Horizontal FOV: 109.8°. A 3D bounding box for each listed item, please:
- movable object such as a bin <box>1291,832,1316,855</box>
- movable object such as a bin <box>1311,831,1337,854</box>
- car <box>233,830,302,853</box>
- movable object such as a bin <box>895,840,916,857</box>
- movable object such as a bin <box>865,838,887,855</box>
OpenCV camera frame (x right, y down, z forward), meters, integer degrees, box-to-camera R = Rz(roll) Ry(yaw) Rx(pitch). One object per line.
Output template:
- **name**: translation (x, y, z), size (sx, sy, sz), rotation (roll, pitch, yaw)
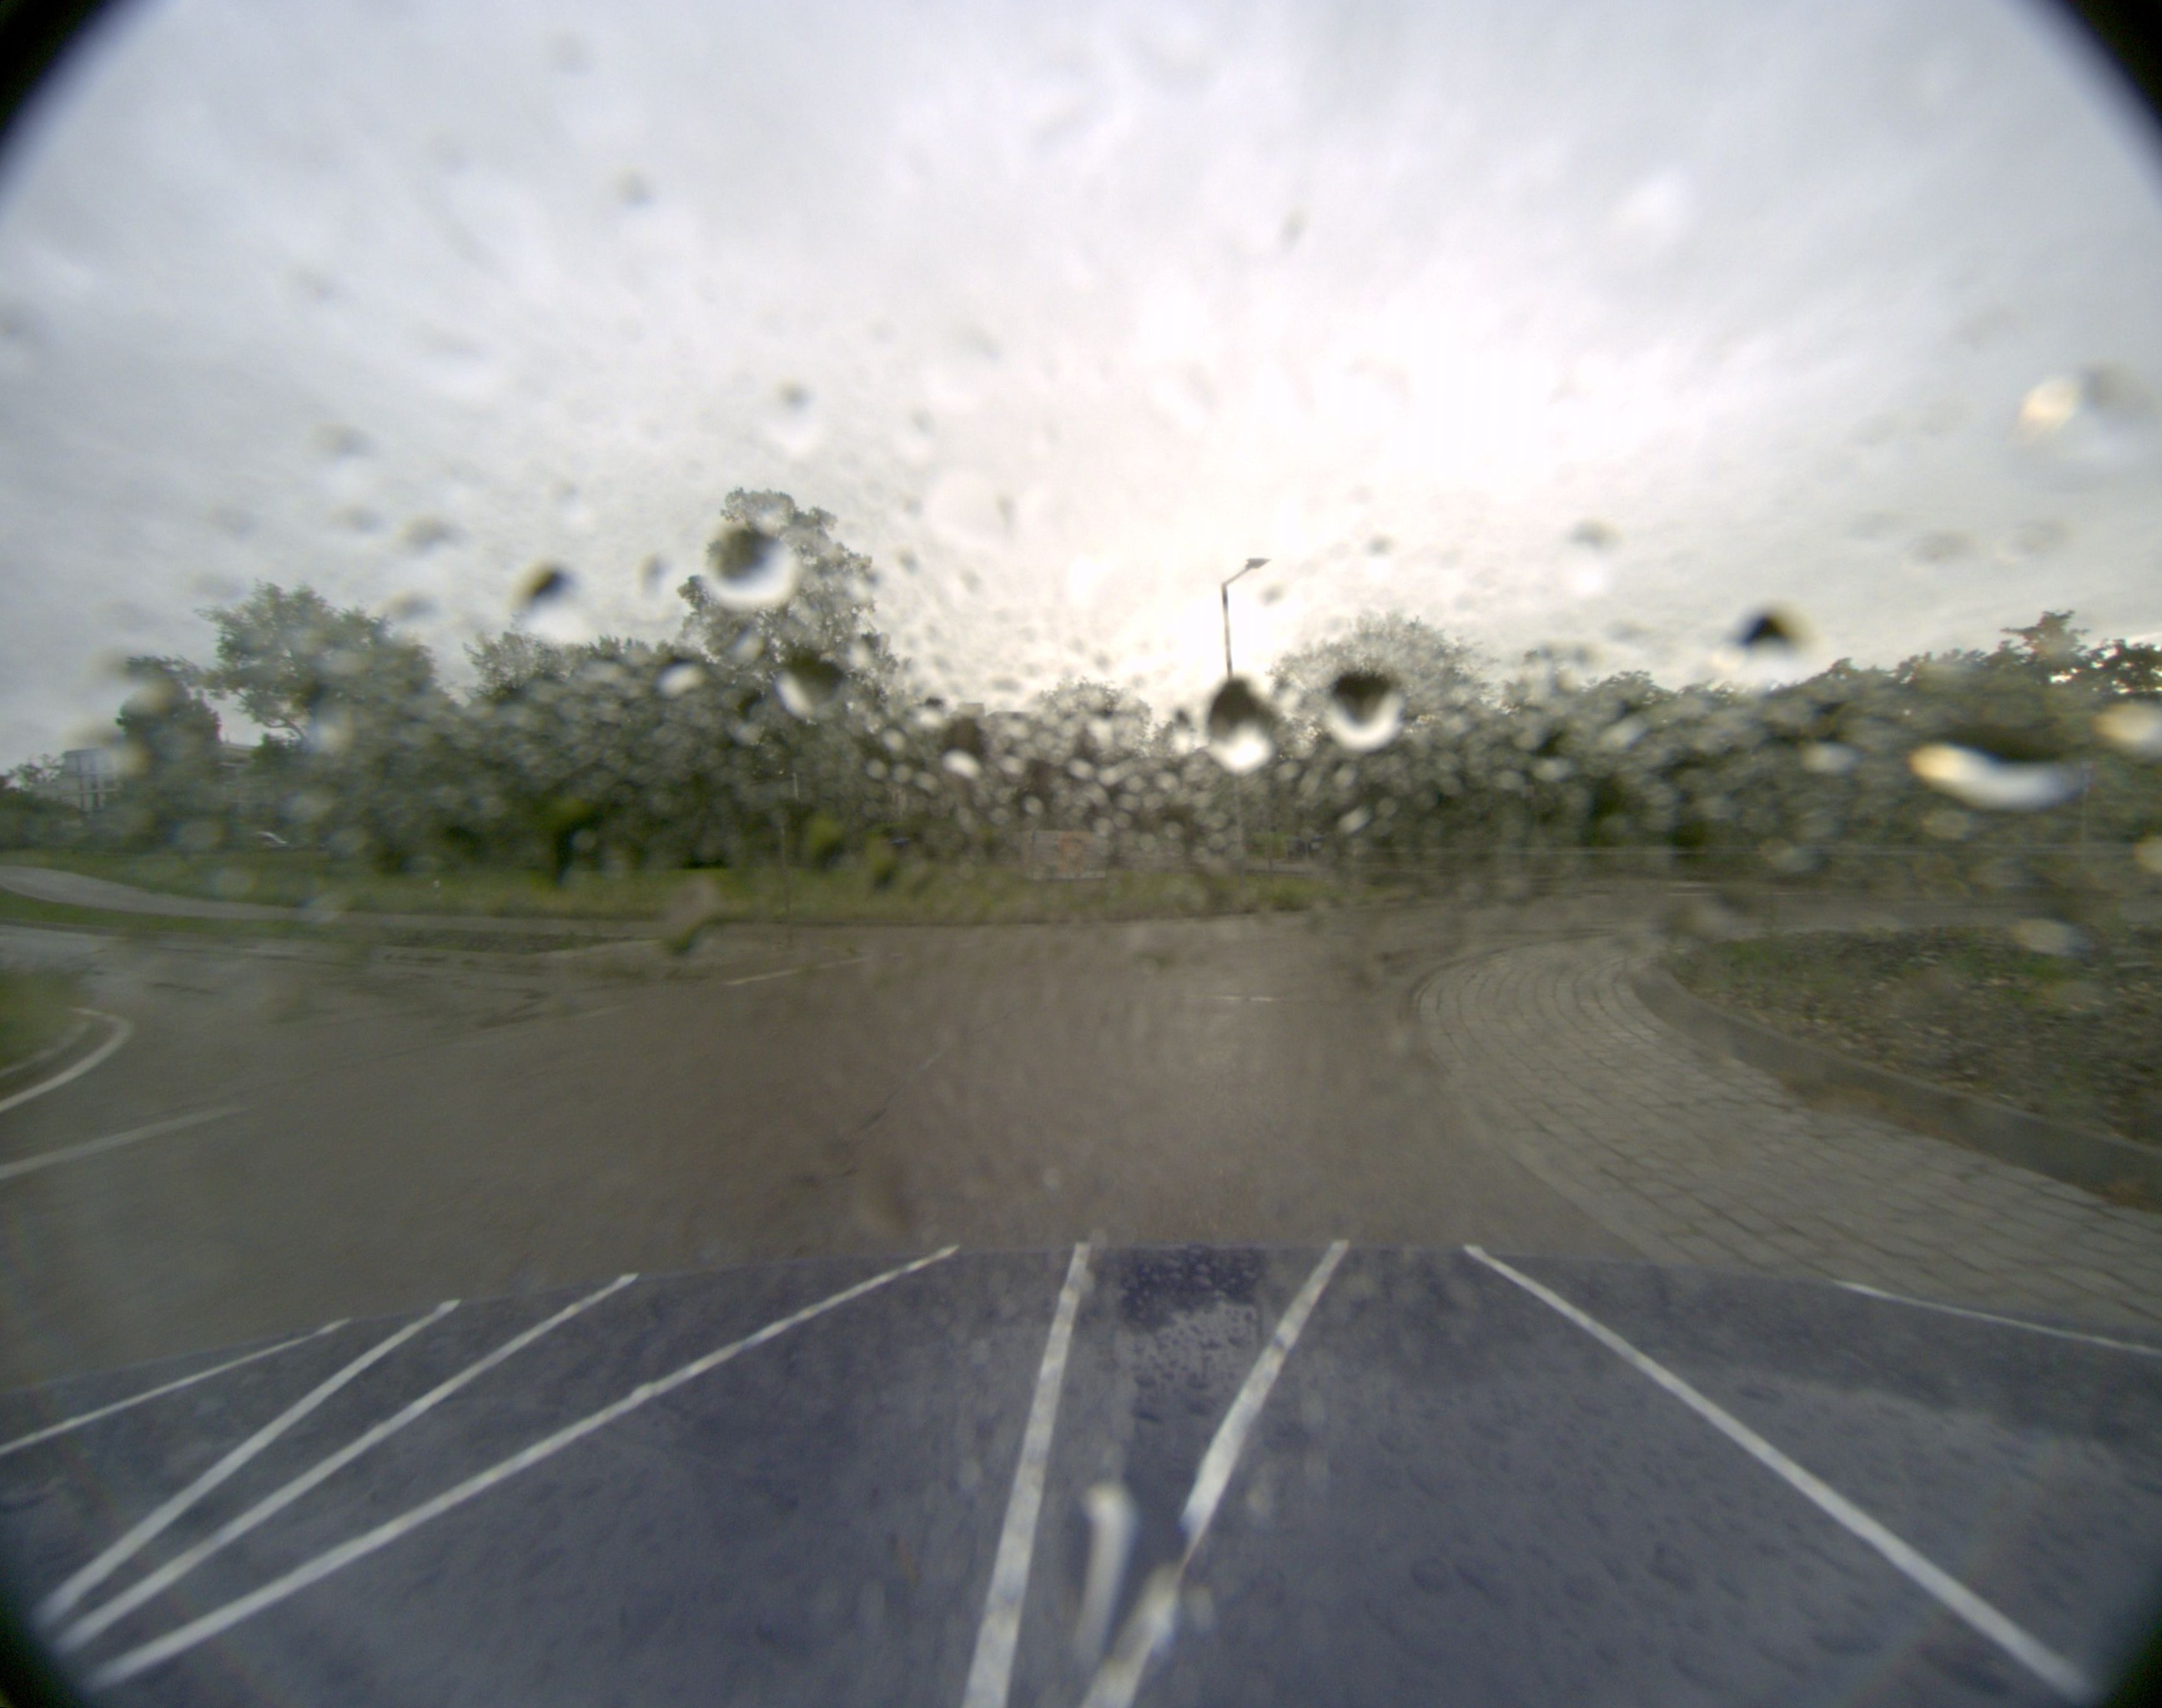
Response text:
- **movable object such as a bin**: translation (14.493, -0.663, 49.471), size (1.200, 1.429, 1.072), rotation (-3, 3, -36)
- **movable object such as a bin**: translation (15.529, -0.719, 48.542), size (1.199, 1.335, 1.072), rotation (-7, 4, -37)
- **car**: translation (-113.977, -1.723, 106.514), size (5.920, 2.636, 2.473), rotation (-6, 2, -18)
- **movable object such as a bin**: translation (-14.978, -0.480, 64.816), size (1.072, 1.429, 1.200), rotation (0, 4, 38)
- **movable object such as a bin**: translation (-17.950, -0.678, 66.608), size (1.424, 1.429, 1.200), rotation (0, 2, 38)
